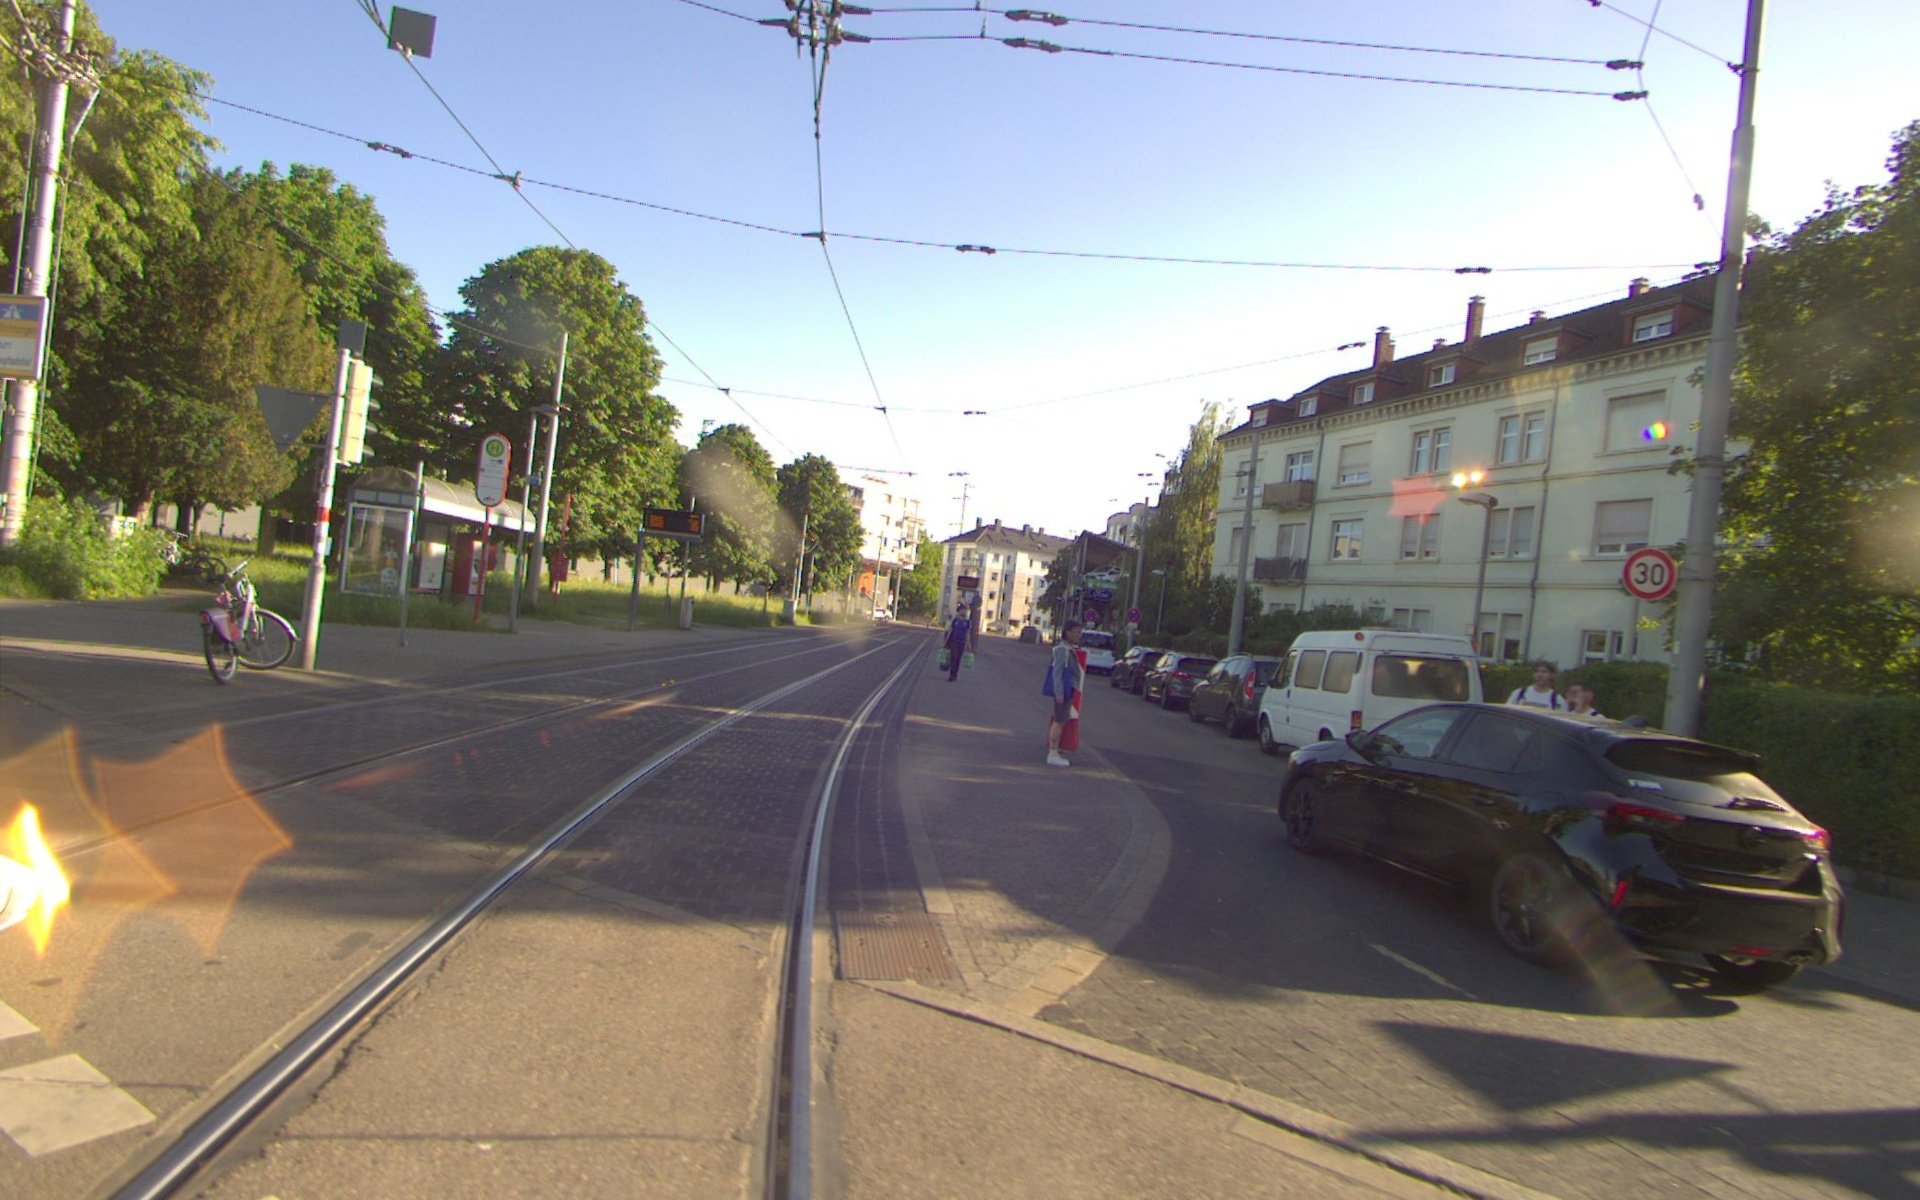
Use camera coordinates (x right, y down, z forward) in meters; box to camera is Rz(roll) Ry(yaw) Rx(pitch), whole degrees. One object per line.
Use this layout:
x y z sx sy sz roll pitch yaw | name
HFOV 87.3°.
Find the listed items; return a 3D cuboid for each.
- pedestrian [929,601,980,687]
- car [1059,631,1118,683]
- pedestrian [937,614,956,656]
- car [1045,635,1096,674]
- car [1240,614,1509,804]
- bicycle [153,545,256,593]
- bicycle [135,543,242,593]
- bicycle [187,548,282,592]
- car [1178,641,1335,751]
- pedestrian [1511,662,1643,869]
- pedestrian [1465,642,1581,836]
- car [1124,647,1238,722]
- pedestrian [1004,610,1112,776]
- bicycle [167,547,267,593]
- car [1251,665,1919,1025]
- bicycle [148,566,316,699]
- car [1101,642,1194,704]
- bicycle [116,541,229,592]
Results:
-0.127 0.986 23.003 0.944 1.814 0.996 7 0 0 | pedestrian
5.588 2.450 44.157 1.773 1.950 3.939 7 -1 -2 | car
-0.622 1.595 45.872 0.668 1.814 0.996 7 0 0 | pedestrian
5.397 2.624 49.425 1.773 1.559 3.939 7 -1 -2 | car
6.233 1.561 15.800 2.058 2.303 4.308 8 -2 -2 | car
-18.690 -0.755 24.937 1.856 0.917 0.657 8 0 -19 | bicycle
-18.443 -0.757 24.093 1.856 0.917 0.657 8 0 -19 | bicycle
-19.237 -0.791 26.725 1.856 0.917 0.657 8 0 -19 | bicycle
6.107 1.922 21.222 1.774 1.784 3.890 7 -1 -3 | car
5.816 1.552 9.501 0.692 1.814 0.613 7 0 -26 | pedestrian
5.846 1.412 10.484 0.691 1.869 0.701 7 0 14 | pedestrian
5.774 2.173 26.751 1.774 1.494 3.938 7 -1 -4 | car
1.077 1.022 11.131 0.721 1.713 0.694 7 0 -36 | pedestrian
-19.049 -0.767 25.837 1.856 0.917 0.657 8 0 -19 | bicycle
3.889 1.418 7.108 1.777 1.458 3.932 7 -1 -11 | car
-6.903 0.268 9.661 0.817 1.072 1.872 7 -1 -23 | bicycle
5.772 2.228 31.488 1.774 1.494 3.938 7 -1 -4 | car
-18.099 -0.763 23.169 1.856 0.917 0.657 8 0 -19 | bicycle
